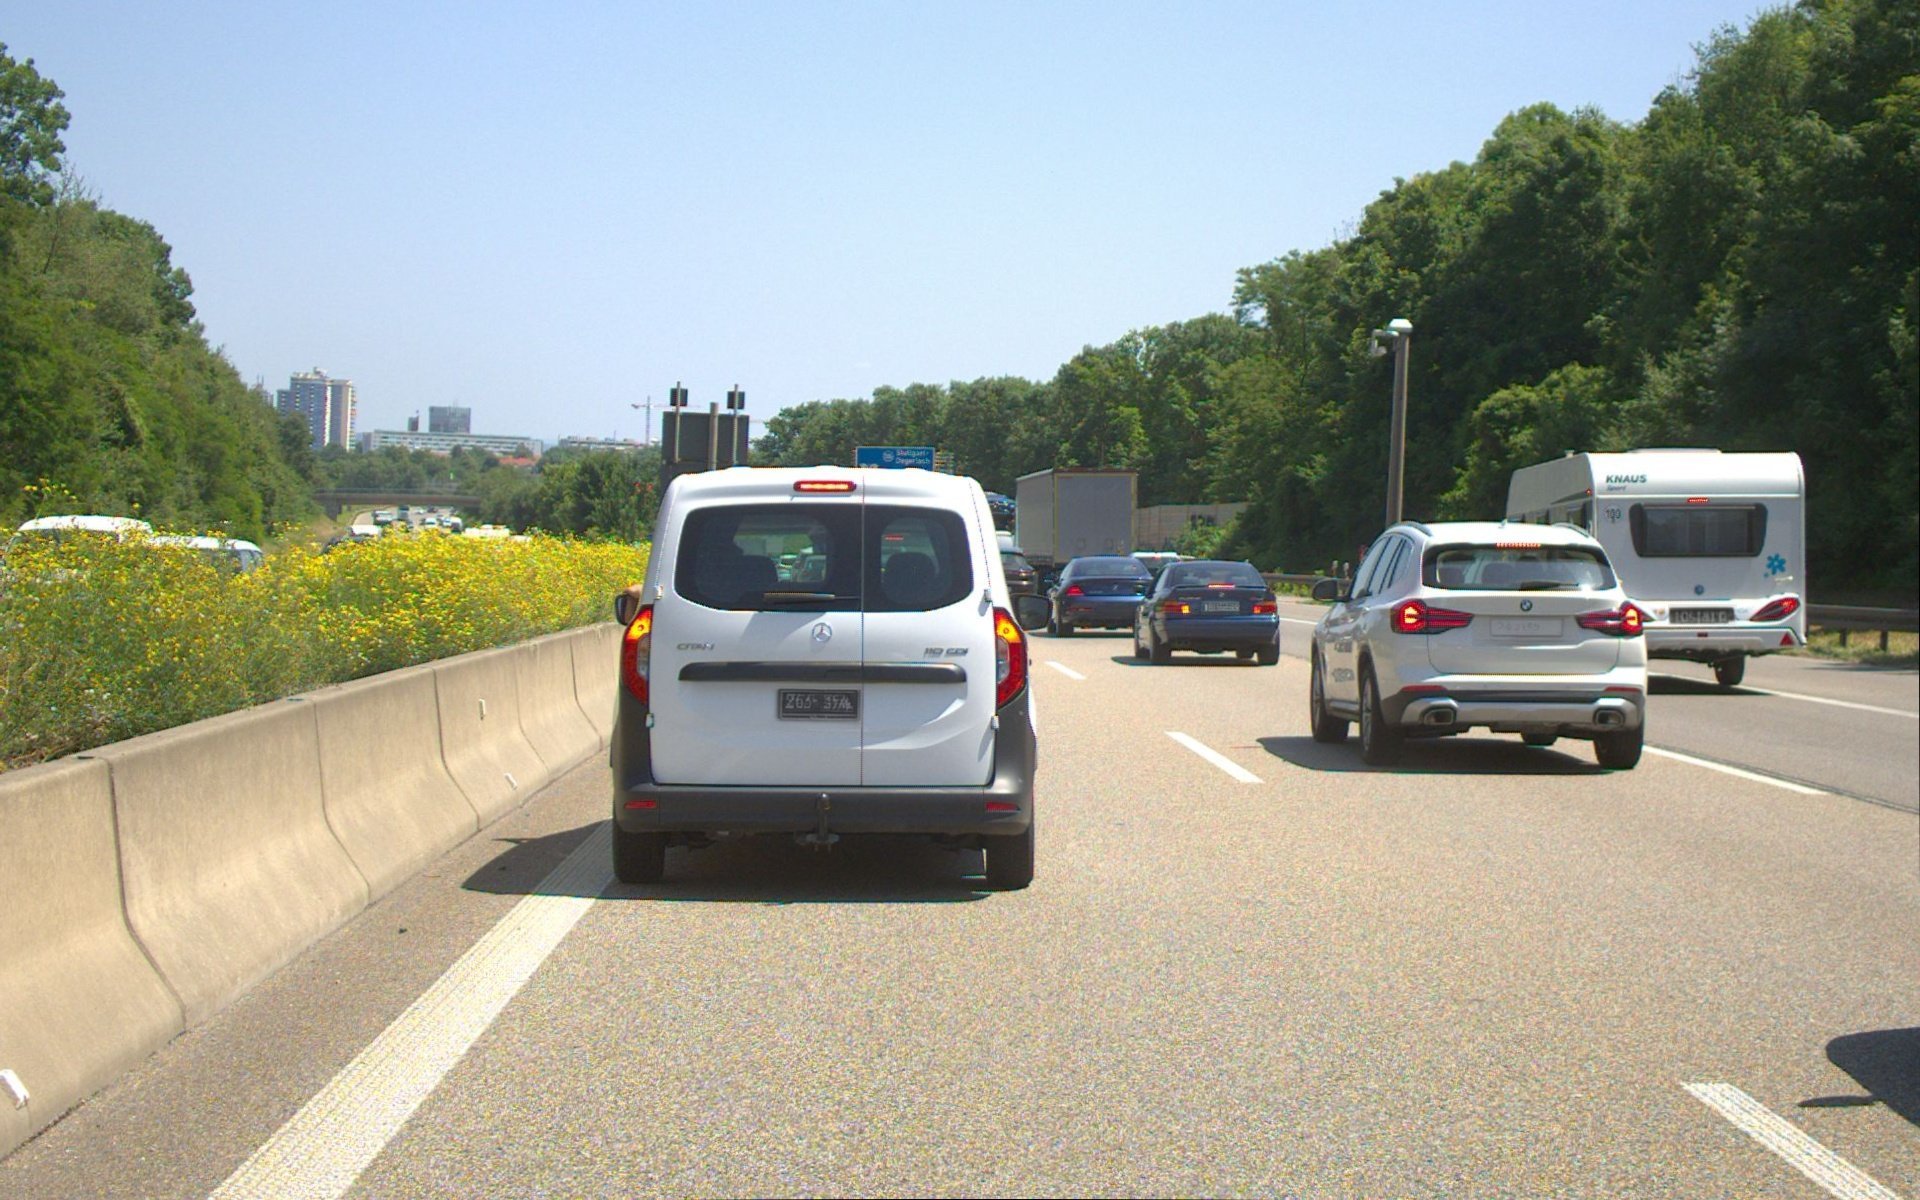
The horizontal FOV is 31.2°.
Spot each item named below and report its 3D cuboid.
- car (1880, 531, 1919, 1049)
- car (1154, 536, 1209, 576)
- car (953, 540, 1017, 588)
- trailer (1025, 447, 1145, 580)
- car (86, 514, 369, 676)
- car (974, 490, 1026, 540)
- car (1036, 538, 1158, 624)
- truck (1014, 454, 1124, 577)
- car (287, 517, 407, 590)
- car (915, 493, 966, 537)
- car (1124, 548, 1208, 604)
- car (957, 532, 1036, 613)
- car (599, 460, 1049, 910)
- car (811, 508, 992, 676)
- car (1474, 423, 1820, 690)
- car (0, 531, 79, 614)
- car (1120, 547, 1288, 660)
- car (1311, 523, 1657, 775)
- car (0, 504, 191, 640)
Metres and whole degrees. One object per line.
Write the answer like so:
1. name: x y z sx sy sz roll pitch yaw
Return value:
1. car: 3.758 0.620 8.220 1.838 1.508 4.402 1 1 -1
2. car: 8.537 -1.706 132.736 1.788 1.514 4.000 1 1 -1
3. car: 0.752 -1.137 106.413 1.824 1.442 4.000 1 1 -2
4. trailer: 3.866 -2.700 108.784 3.081 3.972 10.324 1 1 -2
5. car: -7.309 -0.090 34.755 1.938 1.498 4.659 1 1 -1
6. car: 1.623 -3.487 141.934 1.993 2.007 4.000 0 1 -1
7. car: 2.353 -0.351 59.935 1.824 1.419 4.000 1 1 -2
8. truck: 3.619 -2.839 116.734 3.081 3.972 9.647 1 1 -2
9. car: -13.584 -1.041 76.386 1.993 1.567 4.065 1 1 -1
10. car: -0.907 -3.904 158.546 1.993 2.007 4.001 0 1 -5
11. car: 5.367 -0.639 90.085 1.824 1.419 4.000 1 1 -2
12. car: 0.903 -0.709 86.799 1.824 1.982 4.000 1 1 -2
13. car: -0.563 0.298 15.883 1.802 1.802 4.000 1 1 0
14. car: -0.714 -0.122 40.199 1.993 1.853 4.000 1 1 -2
15. car: 7.642 -0.505 39.031 2.478 2.756 6.220 1 1 -2
16. car: -17.361 -0.529 61.947 1.993 1.439 4.007 1 1 -1
17. car: 3.204 0.019 45.843 1.824 1.419 4.000 1 1 -2
18. car: 3.627 0.279 24.440 1.871 1.602 3.879 1 1 1
19. car: -11.853 -0.407 46.744 1.884 1.749 4.277 1 1 -1
